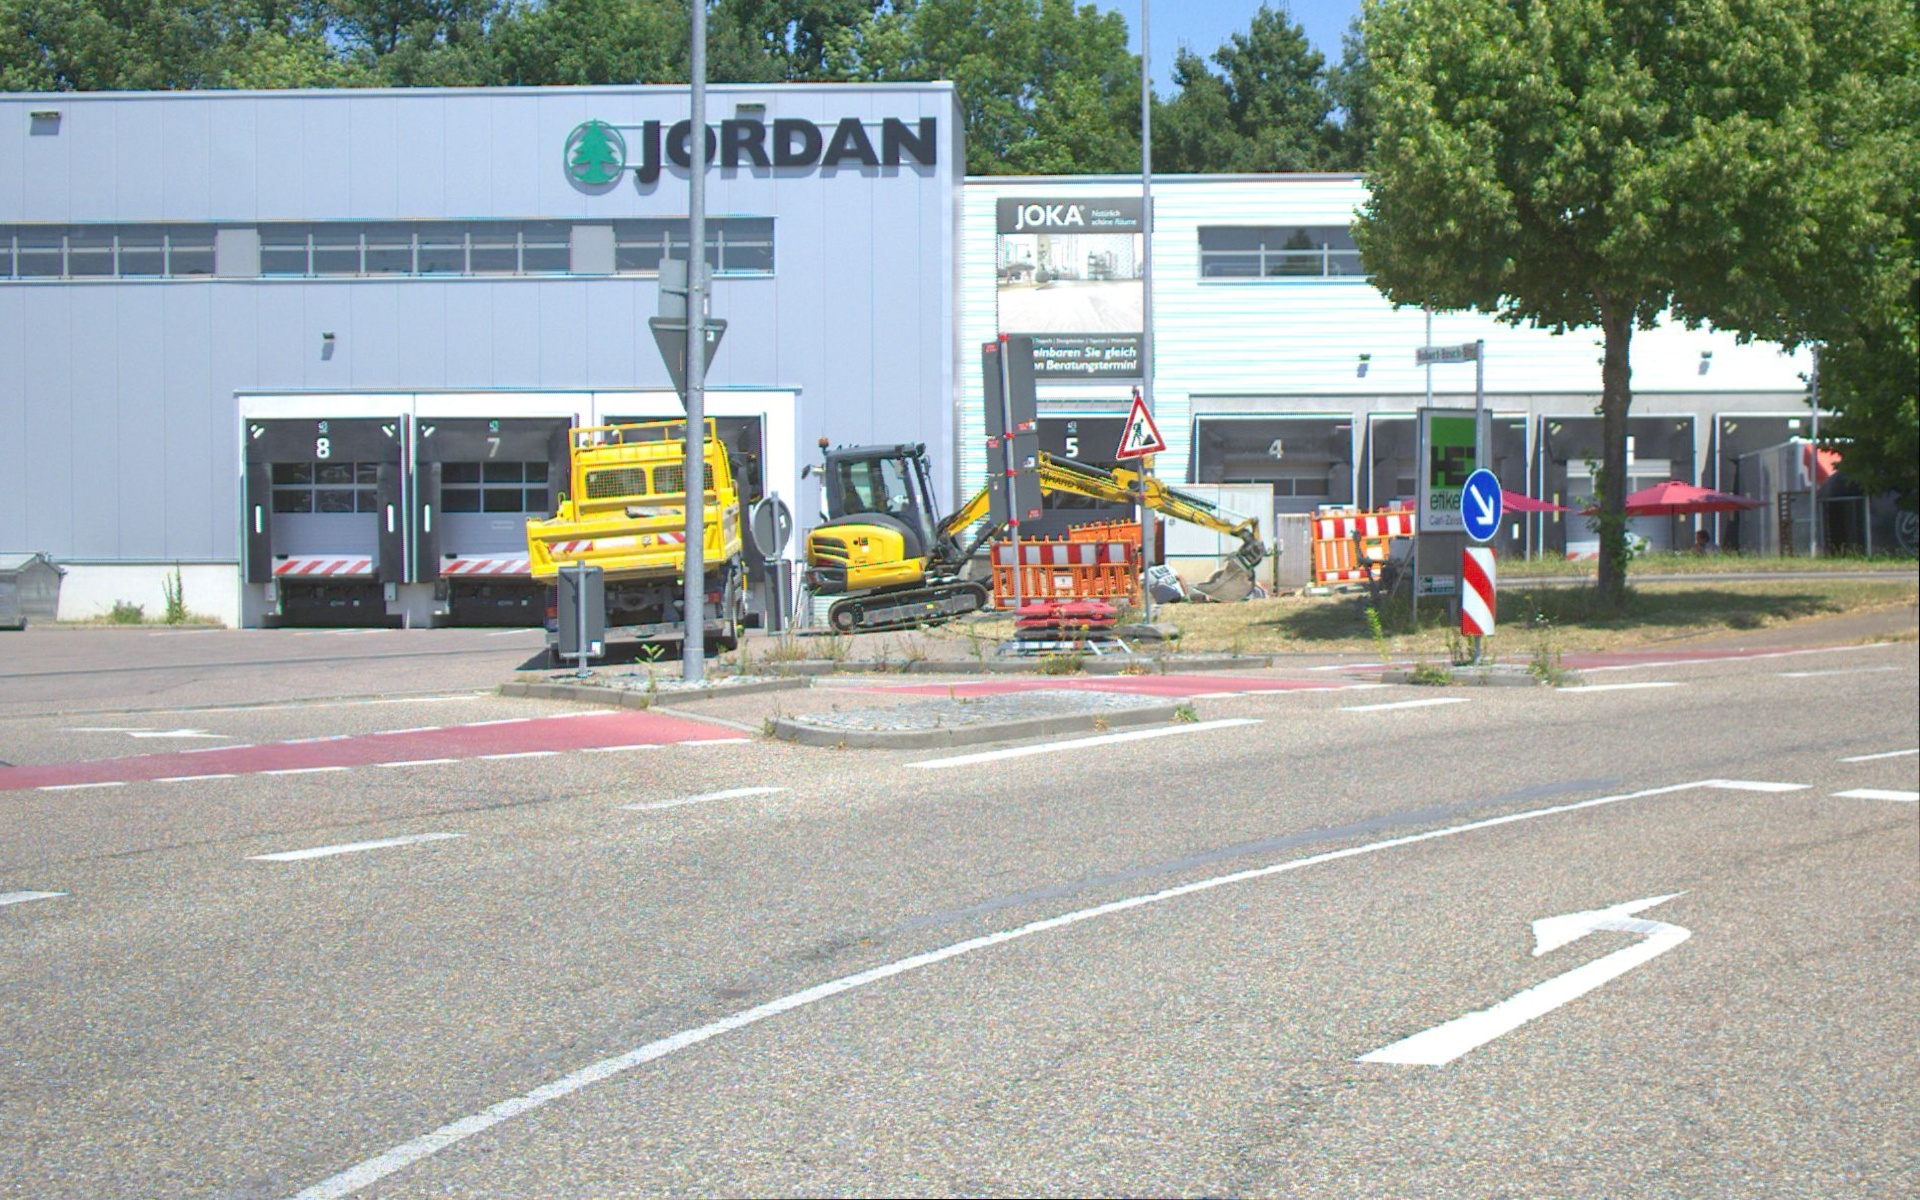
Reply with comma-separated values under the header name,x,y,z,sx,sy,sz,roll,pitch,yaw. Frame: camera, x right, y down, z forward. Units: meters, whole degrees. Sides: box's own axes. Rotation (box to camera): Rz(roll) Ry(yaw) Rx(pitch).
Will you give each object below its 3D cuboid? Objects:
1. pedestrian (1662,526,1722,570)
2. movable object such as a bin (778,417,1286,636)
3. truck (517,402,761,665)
name,x,y,z,sx,sy,sz,roll,pitch,yaw
pedestrian,11.906,-0.851,55.896,0.865,0.693,0.407,-1,1,27
movable object such as a bin,1.007,-0.970,46.401,6.558,2.572,1.999,-3,0,8
truck,-4.176,-1.014,45.961,2.587,3.125,6.426,-3,3,-1
